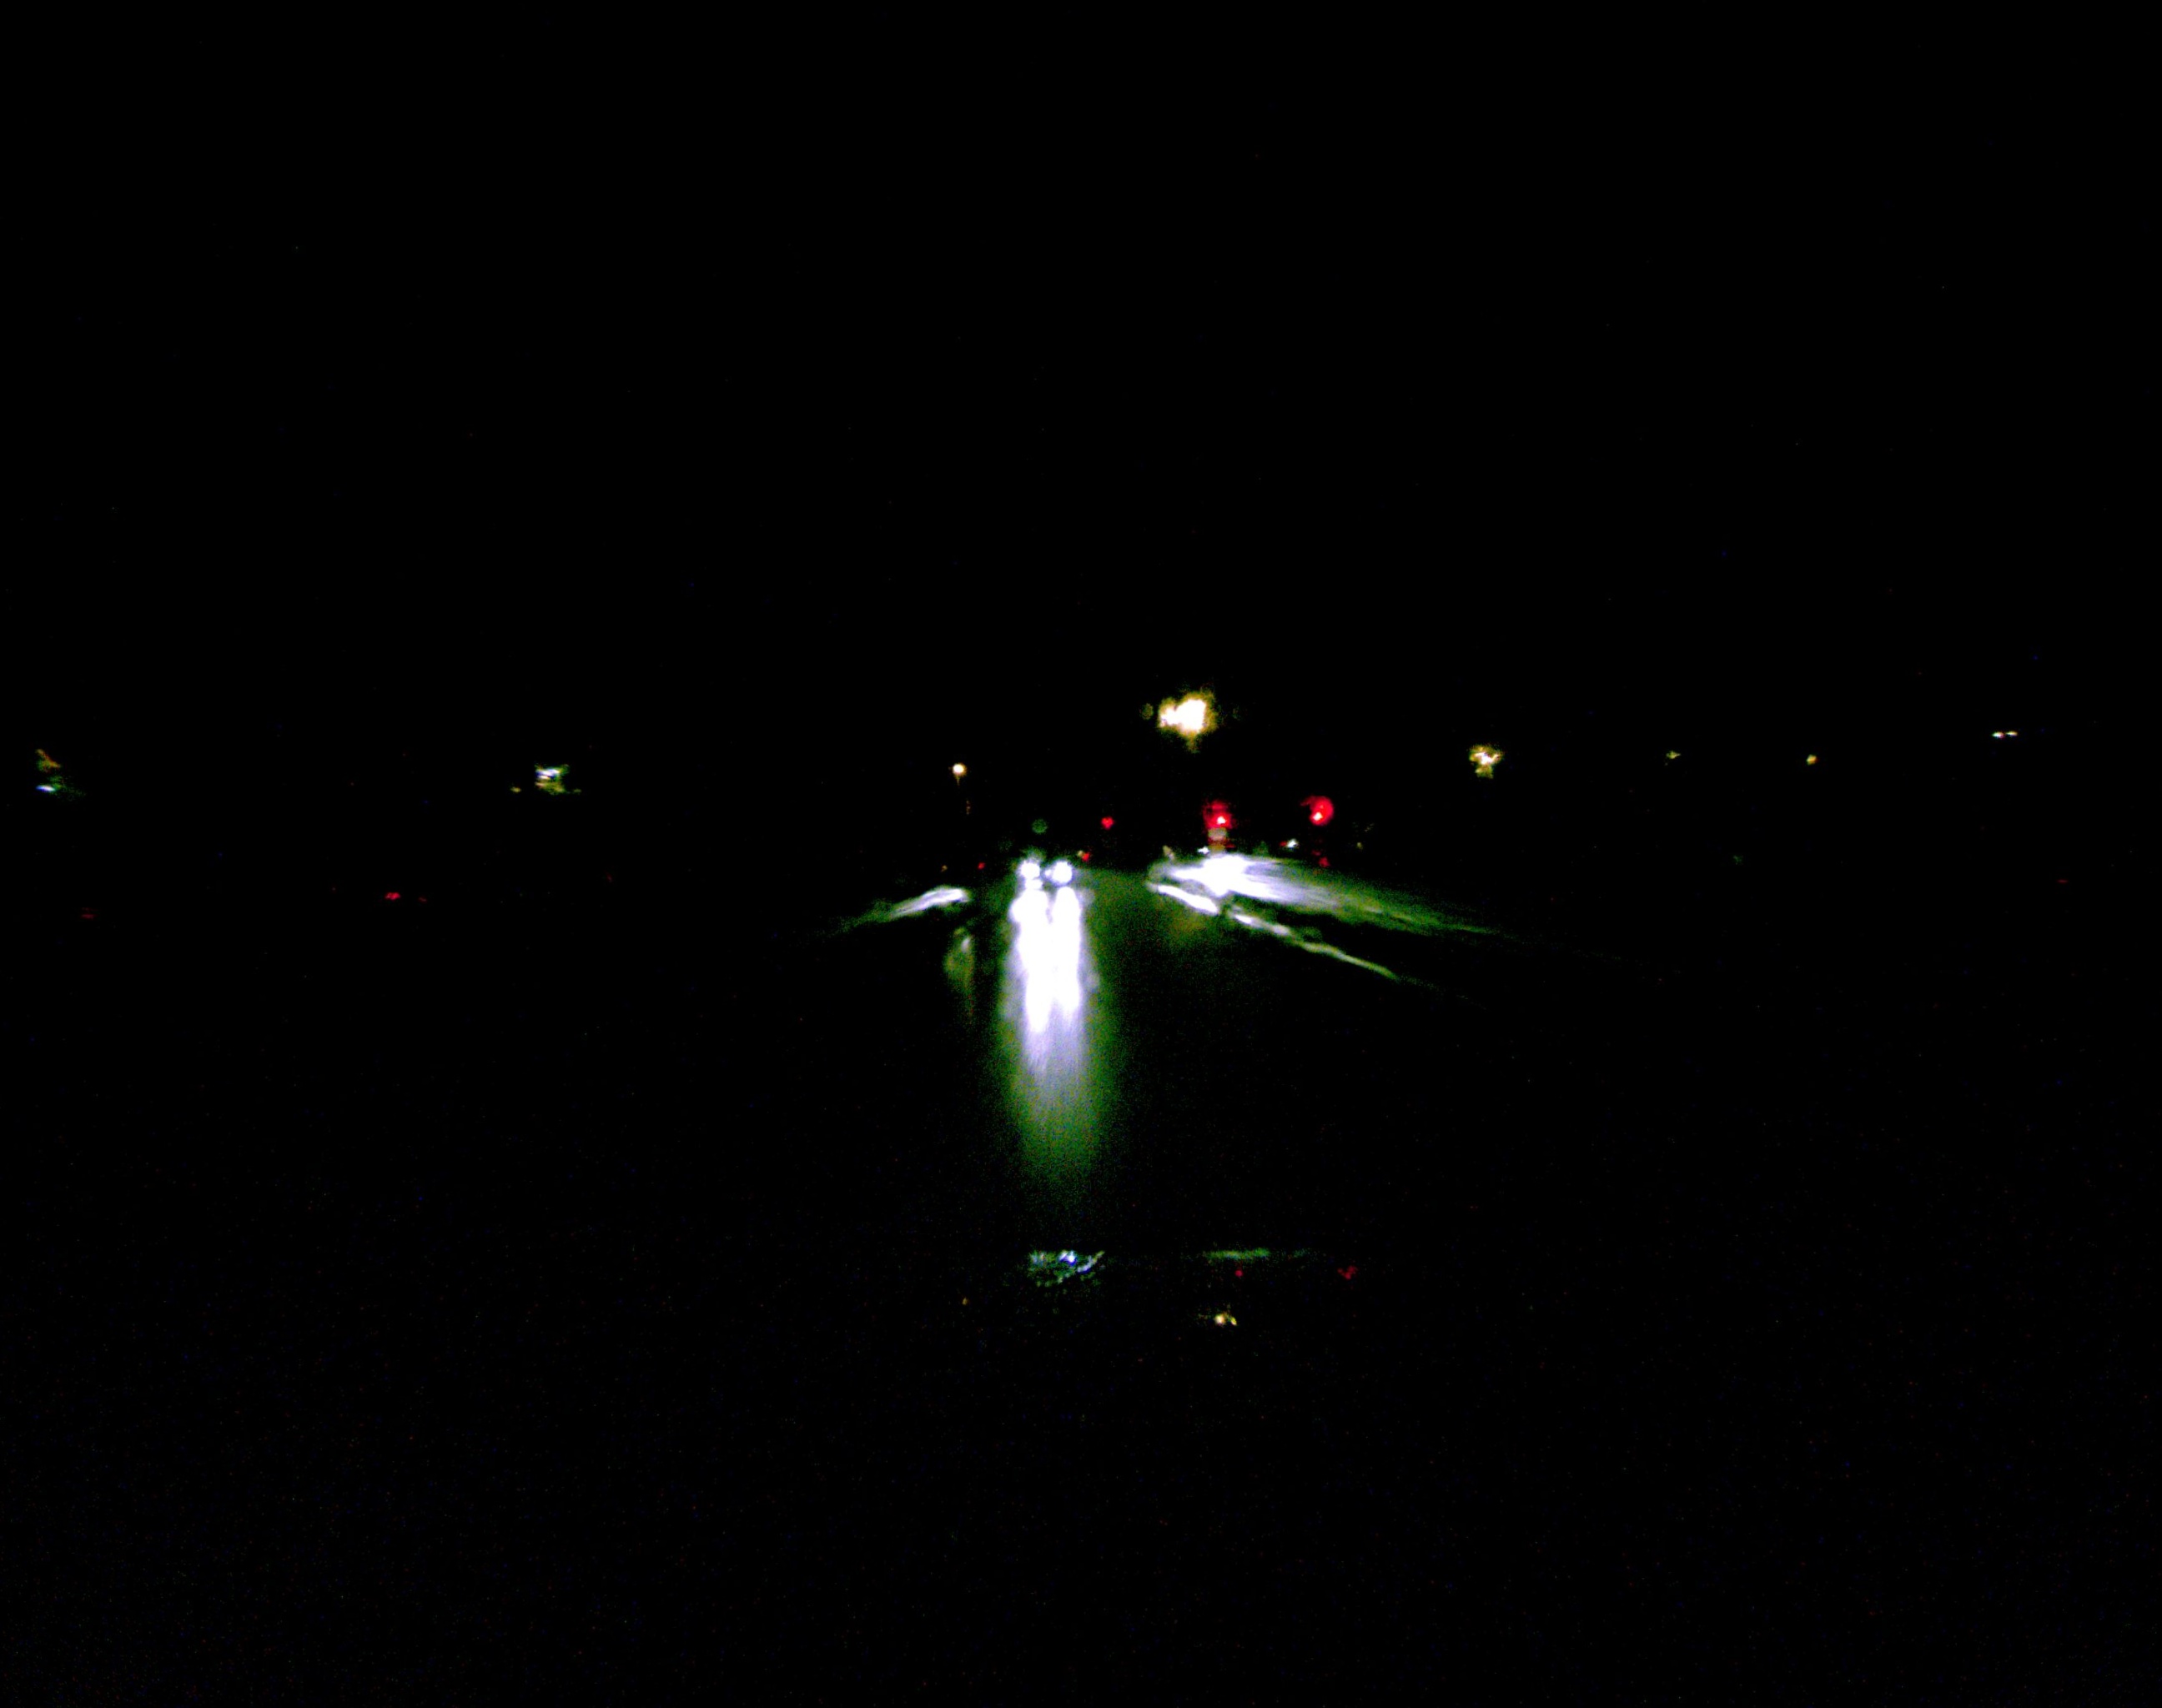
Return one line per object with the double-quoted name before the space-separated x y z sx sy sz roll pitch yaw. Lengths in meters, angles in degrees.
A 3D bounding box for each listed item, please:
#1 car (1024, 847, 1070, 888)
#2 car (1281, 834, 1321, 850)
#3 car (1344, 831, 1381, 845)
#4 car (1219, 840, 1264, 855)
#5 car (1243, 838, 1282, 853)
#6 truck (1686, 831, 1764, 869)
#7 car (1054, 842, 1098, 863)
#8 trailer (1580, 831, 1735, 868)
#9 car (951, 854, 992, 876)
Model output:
"car" -1.678 0.603 36.835 1.999 1.737 4.098 -3 1 -3
"car" 25.578 -1.421 88.303 4.002 1.783 1.997 0 1 -15
"car" 35.164 -2.030 94.920 4.002 1.432 1.717 -4 -1 -18
"car" 15.760 -0.607 74.584 4.003 1.433 1.716 0 1 -18
"car" 21.417 -0.972 89.525 4.002 1.783 1.997 0 1 -15
"truck" 65.353 -0.435 77.225 2.600 3.690 5.445 0 1 -27
"car" -0.546 -0.173 78.486 4.001 1.784 1.997 -6 2 -15
"trailer" 62.391 -0.482 82.949 2.604 3.703 13.620 0 1 -28
"car" -11.676 1.151 80.612 4.000 1.838 1.861 -8 0 -12
